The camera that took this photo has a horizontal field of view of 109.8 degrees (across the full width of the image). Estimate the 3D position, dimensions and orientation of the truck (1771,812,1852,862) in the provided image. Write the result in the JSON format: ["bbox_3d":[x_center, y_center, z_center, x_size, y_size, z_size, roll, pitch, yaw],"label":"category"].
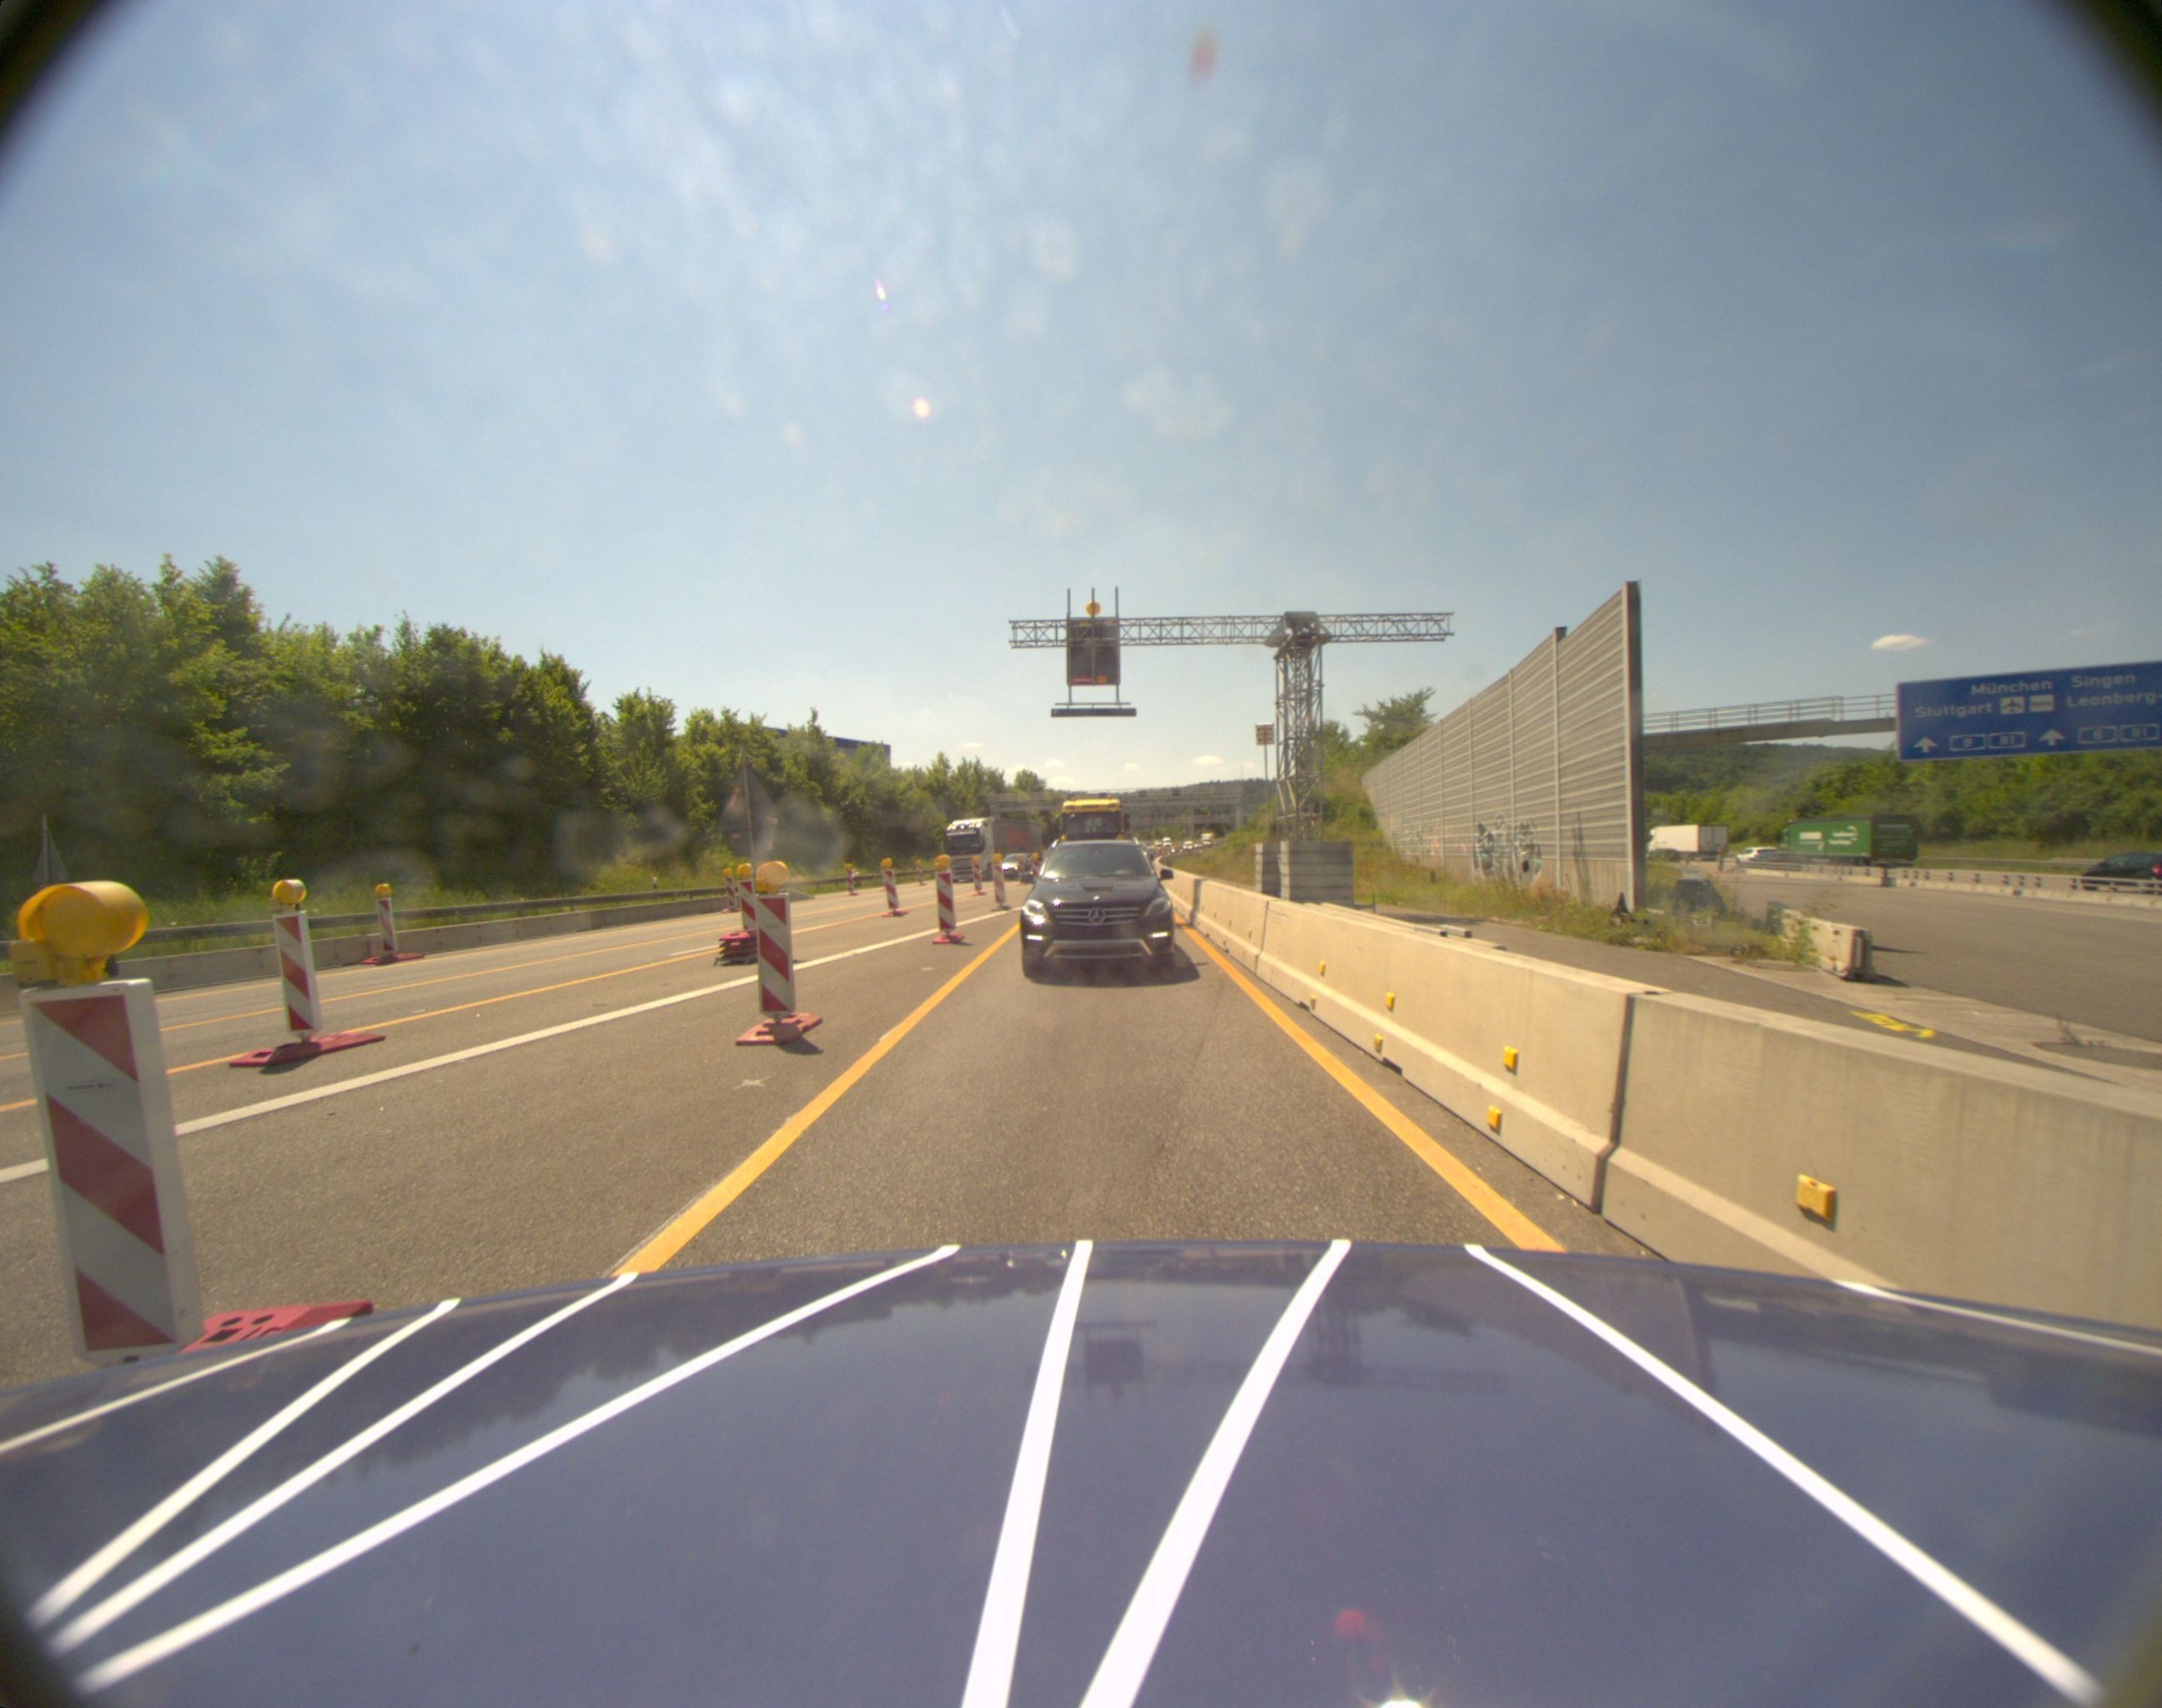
[{"bbox_3d":[66.757,-1.555,69.619,3.549,4.246,5.787,-2,1,24],"label":"truck"}]

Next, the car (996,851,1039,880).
[{"bbox_3d":[-3.805,0.662,46.252,1.709,1.544,4.033,-3,1,7],"label":"car"}]

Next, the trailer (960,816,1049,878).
[{"bbox_3d":[-5.320,-0.537,56.558,2.545,3.930,13.878,-3,0,11],"label":"trailer"}]

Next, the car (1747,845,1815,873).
[{"bbox_3d":[45.373,0.299,49.366,1.699,1.720,4.457,0,1,21],"label":"car"}]

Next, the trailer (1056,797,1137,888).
[{"bbox_3d":[0.573,-0.453,40.487,3.237,3.645,17.420,-3,0,-1],"label":"trailer"}]

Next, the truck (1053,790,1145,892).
[{"bbox_3d":[0.634,-0.467,31.643,3.230,3.639,7.082,-3,0,0],"label":"truck"}]

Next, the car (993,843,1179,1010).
[{"bbox_3d":[0.323,0.753,10.251,1.818,1.686,4.495,-3,1,8],"label":"car"}]

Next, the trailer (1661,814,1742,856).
[{"bbox_3d":[69.953,-2.159,86.161,3.549,4.246,13.928,-2,1,24],"label":"trailer"}]

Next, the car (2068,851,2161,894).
[{"bbox_3d":[40.440,0.678,28.955,1.717,1.483,3.693,0,1,20],"label":"car"}]

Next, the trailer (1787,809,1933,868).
[{"bbox_3d":[63.759,-1.340,62.875,3.549,4.246,13.928,-2,1,24],"label":"trailer"}]

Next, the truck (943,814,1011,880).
[{"bbox_3d":[-6.640,-0.446,49.440,2.531,3.927,5.602,-3,0,10],"label":"truck"}]

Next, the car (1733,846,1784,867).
[{"bbox_3d":[54.919,0.190,61.661,1.717,1.614,4.176,-1,1,21],"label":"car"}]
